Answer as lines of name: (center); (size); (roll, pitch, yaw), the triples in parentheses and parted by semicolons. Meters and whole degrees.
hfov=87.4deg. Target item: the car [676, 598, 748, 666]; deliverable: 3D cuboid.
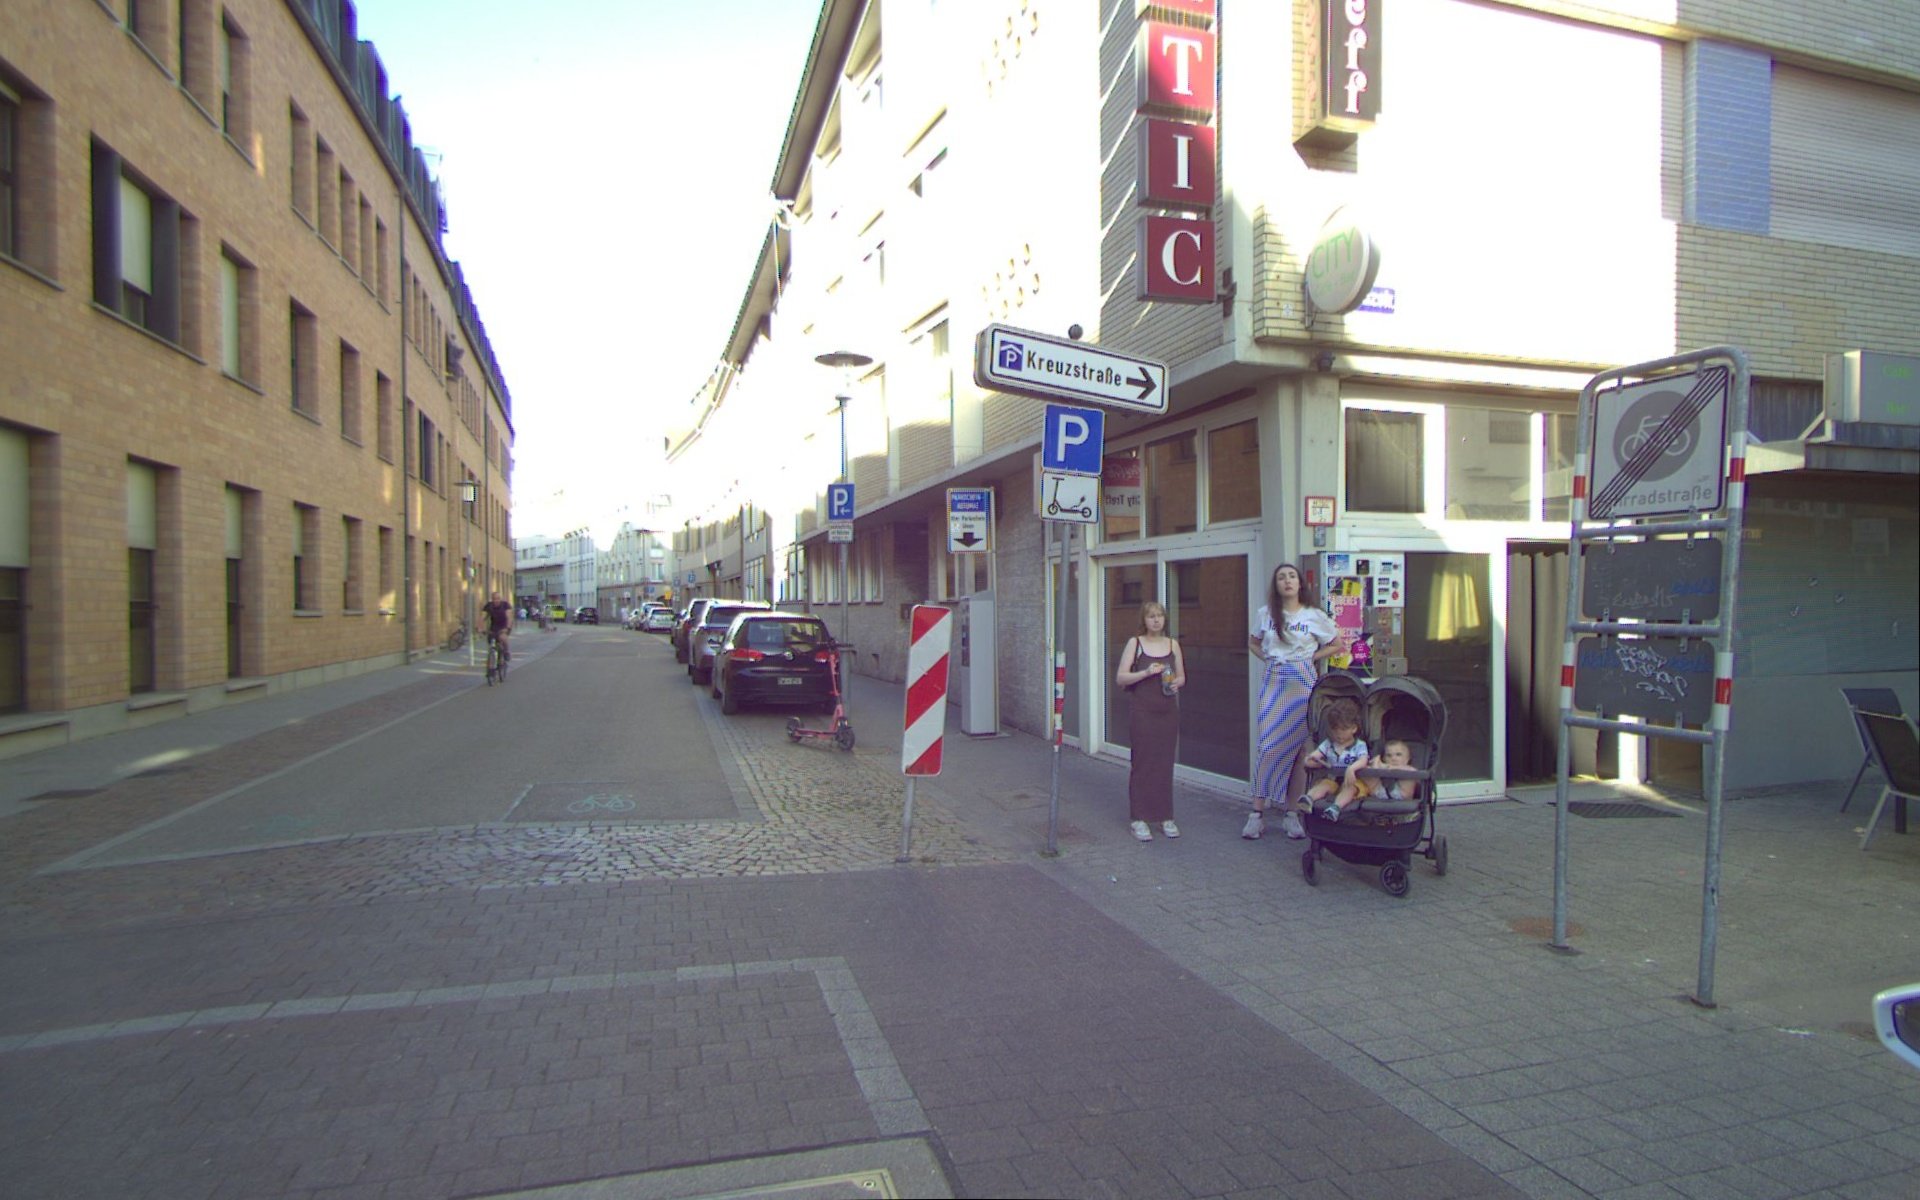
car: (-6.890, 0.852, 27.709); (1.647, 1.727, 3.997); (2, -1, -17)

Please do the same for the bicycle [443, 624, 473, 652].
bicycle: (-17.256, 1.293, 34.577); (0.633, 0.893, 2.545); (1, -1, -20)

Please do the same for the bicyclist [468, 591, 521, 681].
bicyclist: (-9.114, 0.685, 19.704); (0.761, 1.678, 0.953); (-3, 1, -18)

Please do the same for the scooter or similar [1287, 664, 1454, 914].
scooter or similar: (2.290, 0.976, 5.572); (0.784, 1.159, 0.953); (0, 1, 25)

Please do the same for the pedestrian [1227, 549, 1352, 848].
pedestrian: (2.168, 0.616, 6.583); (0.647, 1.844, 0.570); (-3, 0, 24)

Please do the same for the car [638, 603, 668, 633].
car: (-19.798, 1.160, 64.652); (1.668, 1.799, 3.640); (2, -1, -19)

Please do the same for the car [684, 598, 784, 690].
car: (-4.752, 0.849, 20.709); (1.647, 1.683, 4.065); (2, -1, -17)

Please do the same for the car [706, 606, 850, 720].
car: (-2.935, 0.887, 15.619); (1.713, 1.506, 3.797); (2, 0, -17)

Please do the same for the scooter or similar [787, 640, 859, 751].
scooter or similar: (-1.550, 1.059, 11.295); (0.867, 1.199, 0.208); (-1, 0, 33)

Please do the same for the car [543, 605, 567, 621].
car: (-44.822, 1.450, 111.093); (1.914, 1.673, 3.804); (1, -1, -31)

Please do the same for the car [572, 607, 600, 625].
car: (-36.250, 1.532, 97.295); (1.914, 1.673, 3.804); (0, 0, -31)

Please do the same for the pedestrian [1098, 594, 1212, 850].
pedestrian: (1.285, 0.774, 6.671); (0.524, 1.600, 0.510); (-3, 0, -11)

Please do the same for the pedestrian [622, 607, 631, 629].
pedestrian: (-22.993, 1.222, 69.197); (0.564, 1.499, 0.471); (0, 0, -25)

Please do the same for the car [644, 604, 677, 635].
car: (-17.649, 1.139, 59.115); (1.668, 1.701, 3.492); (2, -1, -19)

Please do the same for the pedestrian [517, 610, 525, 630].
pedestrian: (-35.453, 1.623, 81.180); (0.535, 1.565, 0.403); (1, 0, -19)

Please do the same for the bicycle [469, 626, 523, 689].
bicycle: (-9.079, 1.096, 19.700); (0.694, 1.118, 1.820); (-4, 1, -18)
